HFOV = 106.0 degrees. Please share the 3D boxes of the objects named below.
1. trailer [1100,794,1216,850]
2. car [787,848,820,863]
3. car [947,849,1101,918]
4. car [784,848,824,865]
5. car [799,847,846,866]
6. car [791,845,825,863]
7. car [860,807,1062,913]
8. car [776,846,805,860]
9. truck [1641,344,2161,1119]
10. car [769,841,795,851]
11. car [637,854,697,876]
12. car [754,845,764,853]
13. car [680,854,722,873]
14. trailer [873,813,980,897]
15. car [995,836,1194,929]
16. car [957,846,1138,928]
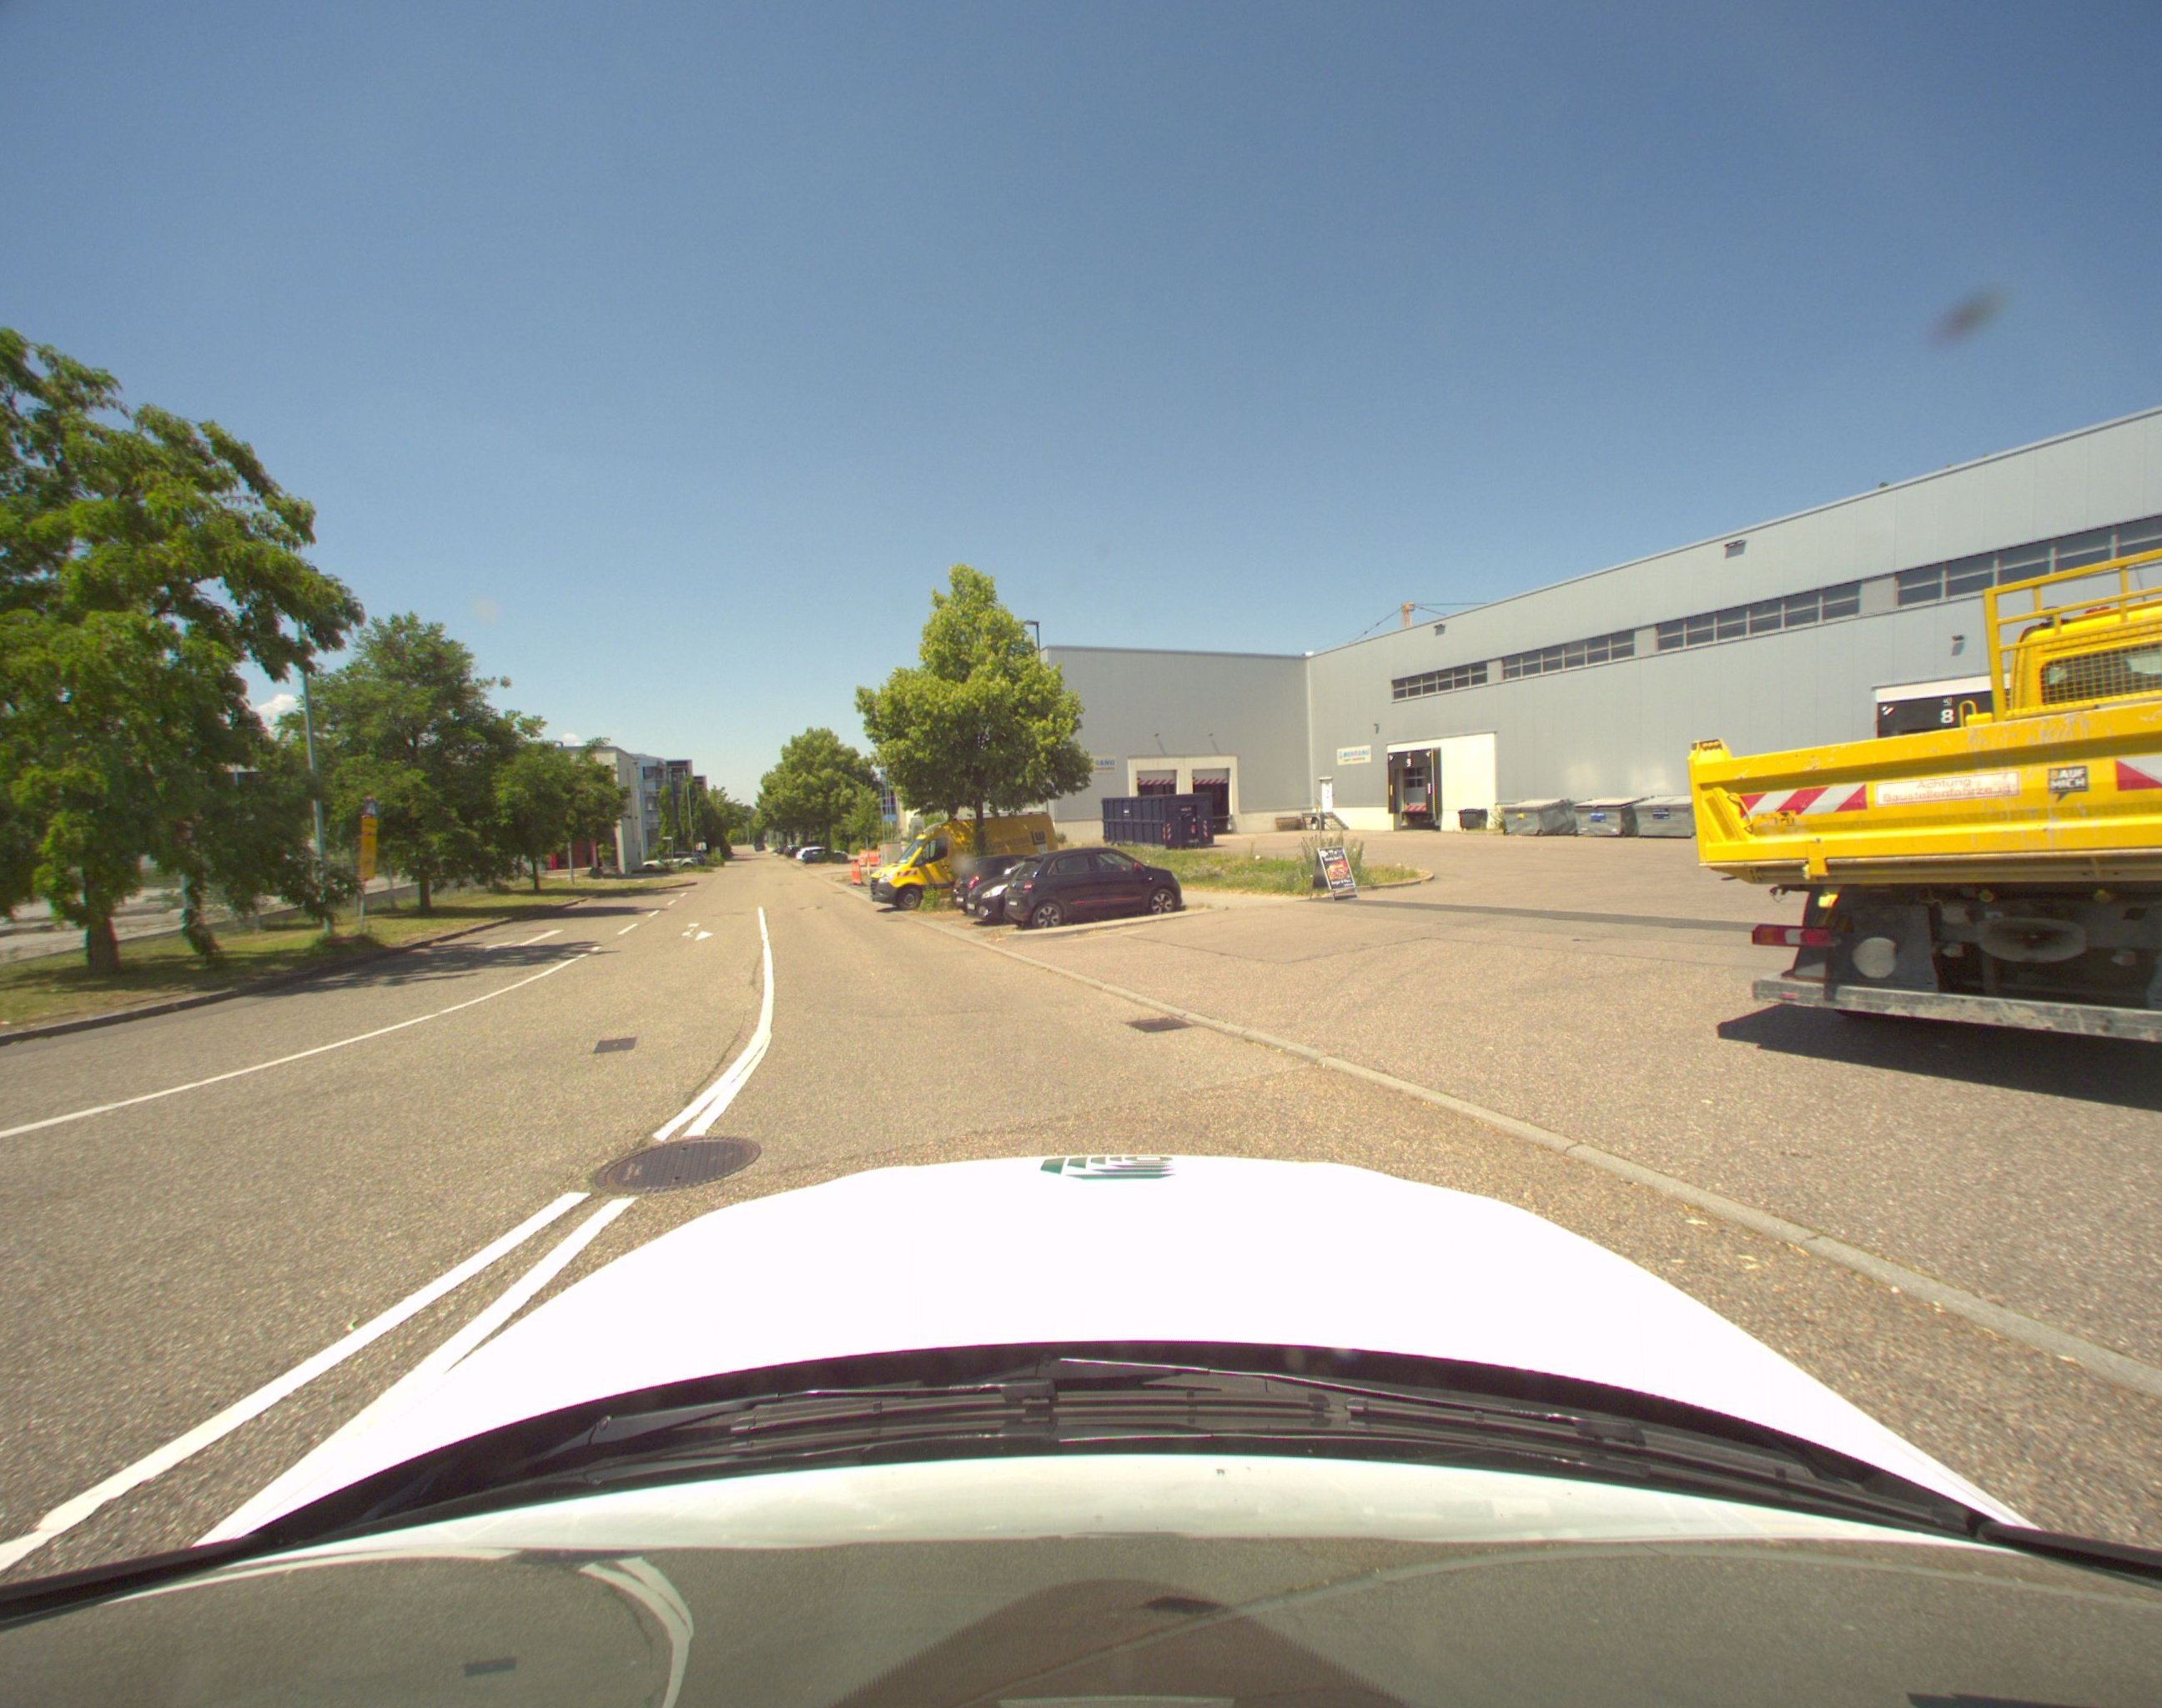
[{"bbox_3d":[3.529,-1.675,39.392,2.668,2.419,7.366,-2,5,-20],"label":"trailer"},{"bbox_3d":[-35.189,0.196,103.331,3.738,1.626,1.800,-3,1,-23],"label":"car"},{"bbox_3d":[-1.488,0.710,21.278,3.620,1.478,1.615,-4,2,-25],"label":"car"},{"bbox_3d":[-27.971,0.237,82.120,3.537,1.354,1.524,-6,3,-27],"label":"car"},{"bbox_3d":[-23.415,0.242,73.781,3.700,1.354,1.631,-6,3,-27],"label":"car"},{"bbox_3d":[-33.561,-0.008,100.100,3.738,2.110,1.800,-3,1,-23],"label":"car"},{"bbox_3d":[-3.713,0.089,25.529,5.807,2.732,1.984,-5,3,-24],"label":"car"},{"bbox_3d":[-45.795,-0.141,128.358,3.957,1.834,1.750,-3,5,-30],"label":"car"},{"bbox_3d":[6.980,-0.679,5.317,6.439,3.136,2.573,-4,1,-27],"label":"truck"},{"bbox_3d":[-51.208,-1.368,139.383,3.957,1.577,1.750,-3,5,-30],"label":"car"},{"bbox_3d":[-32.539,0.844,64.145,4.066,1.494,1.714,-3,1,-25],"label":"car"},{"bbox_3d":[-68.794,-1.067,174.002,1.768,1.755,3.916,-3,1,-22],"label":"car"},{"bbox_3d":[-32.340,0.783,69.327,3.076,1.478,1.281,-2,1,-29],"label":"car"},{"bbox_3d":[-6.294,-0.003,32.548,2.671,2.856,5.473,-6,2,-26],"label":"trailer"},{"bbox_3d":[0.276,0.530,16.782,3.676,1.462,1.615,-6,2,-23],"label":"car"},{"bbox_3d":[-0.761,0.697,18.693,3.789,1.507,1.578,-4,2,-25],"label":"car"}]
